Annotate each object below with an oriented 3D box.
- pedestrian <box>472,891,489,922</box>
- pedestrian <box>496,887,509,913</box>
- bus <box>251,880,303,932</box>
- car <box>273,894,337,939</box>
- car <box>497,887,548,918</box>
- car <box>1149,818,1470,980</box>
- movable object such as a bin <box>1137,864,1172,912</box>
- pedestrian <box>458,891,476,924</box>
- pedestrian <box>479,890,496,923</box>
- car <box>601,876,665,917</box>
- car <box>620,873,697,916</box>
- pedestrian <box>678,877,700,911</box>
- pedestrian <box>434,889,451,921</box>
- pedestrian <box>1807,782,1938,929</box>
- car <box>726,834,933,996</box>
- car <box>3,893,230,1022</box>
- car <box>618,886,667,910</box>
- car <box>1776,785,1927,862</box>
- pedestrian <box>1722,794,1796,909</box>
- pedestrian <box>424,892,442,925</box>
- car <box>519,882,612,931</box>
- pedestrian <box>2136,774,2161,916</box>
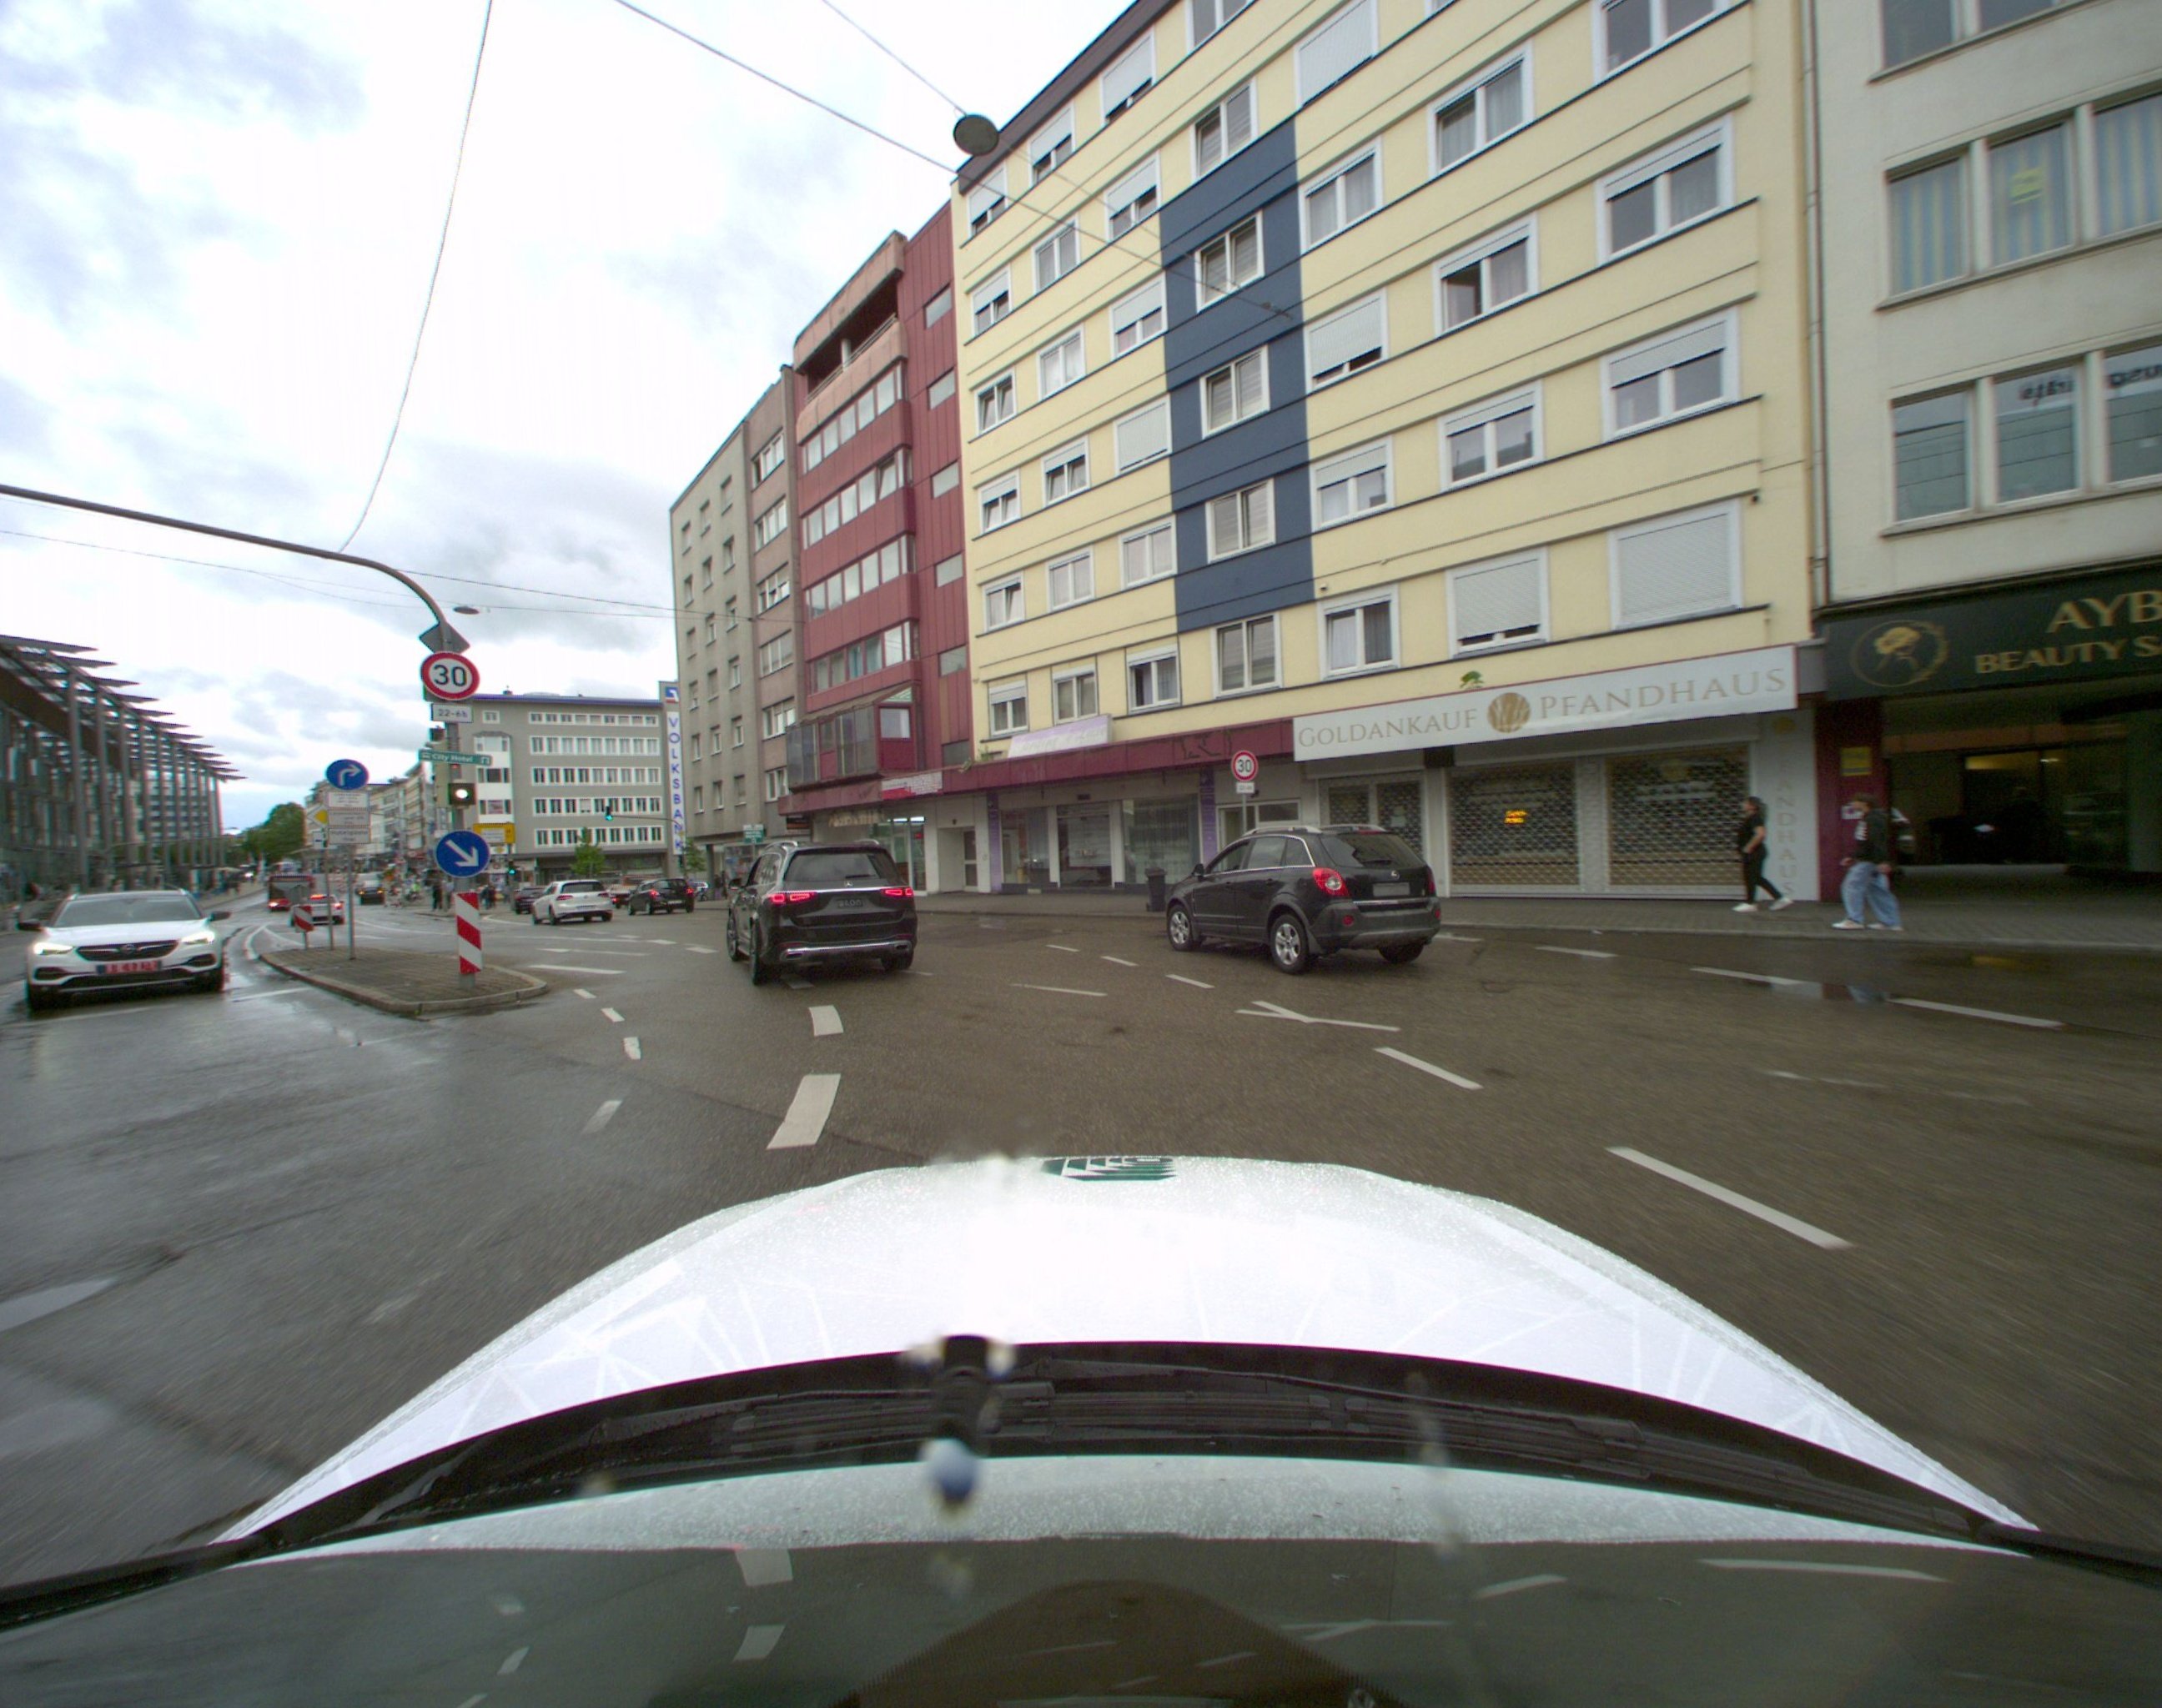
[{"bbox_3d":[-39.006,3.401,52.879,0.817,2.014,0.846,-1,-2,-33],"label":"pedestrian"},{"bbox_3d":[-46.218,3.670,65.098,0.817,2.014,0.846,-1,-2,-33],"label":"pedestrian"},{"bbox_3d":[-68.367,4.460,69.242,9.365,3.953,2.937,-5,-2,45],"label":"bus"},{"bbox_3d":[-37.016,2.912,38.827,4.676,1.789,2.012,0,-1,44],"label":"car"},{"bbox_3d":[-29.851,2.568,43.635,2.007,1.486,4.193,-1,-2,-32],"label":"car"},{"bbox_3d":[2.751,0.480,11.051,1.904,1.695,4.474,-2,0,-20],"label":"car"},{"bbox_3d":[1.620,0.744,18.013,0.536,0.950,0.618,-8,4,-9],"label":"movable object such as a bin"},{"bbox_3d":[-38.811,3.363,51.462,0.817,2.014,0.846,-1,-2,-33],"label":"pedestrian"},{"bbox_3d":[-37.397,3.307,51.293,0.817,2.014,0.846,-1,-2,-33],"label":"pedestrian"},{"bbox_3d":[-26.116,2.405,47.673,2.249,2.228,5.394,0,-2,-18],"label":"car"},{"bbox_3d":[-17.444,1.627,33.508,1.838,1.659,4.442,2,-3,-40],"label":"car"},{"bbox_3d":[-23.561,2.399,48.956,0.805,2.014,0.859,-2,-2,18],"label":"pedestrian"},{"bbox_3d":[-41.227,3.277,52.583,0.817,2.014,0.846,-1,-2,-33],"label":"pedestrian"},{"bbox_3d":[10.275,0.013,10.616,1.020,1.799,0.835,-3,4,30],"label":"pedestrian"},{"bbox_3d":[-3.882,0.727,11.914,2.050,1.799,4.621,-3,0,-28],"label":"car"},{"bbox_3d":[-15.115,1.493,12.987,4.675,1.556,2.012,-4,-1,43],"label":"car"},{"bbox_3d":[-29.040,2.897,54.047,1.929,1.515,4.635,2,-2,-17],"label":"car"},{"bbox_3d":[19.307,-0.672,20.621,1.780,1.670,4.024,-3,-2,30],"label":"car"},{"bbox_3d":[10.314,-0.040,12.408,0.746,1.689,0.569,-2,4,31],"label":"pedestrian"},{"bbox_3d":[-40.626,3.410,51.051,0.817,2.014,0.846,-1,-2,-33],"label":"pedestrian"},{"bbox_3d":[-17.777,1.745,27.988,1.890,1.495,4.346,1,-2,-43],"label":"car"},{"bbox_3d":[13.416,-0.115,9.560,1.020,1.689,0.835,-3,4,30],"label":"pedestrian"}]
